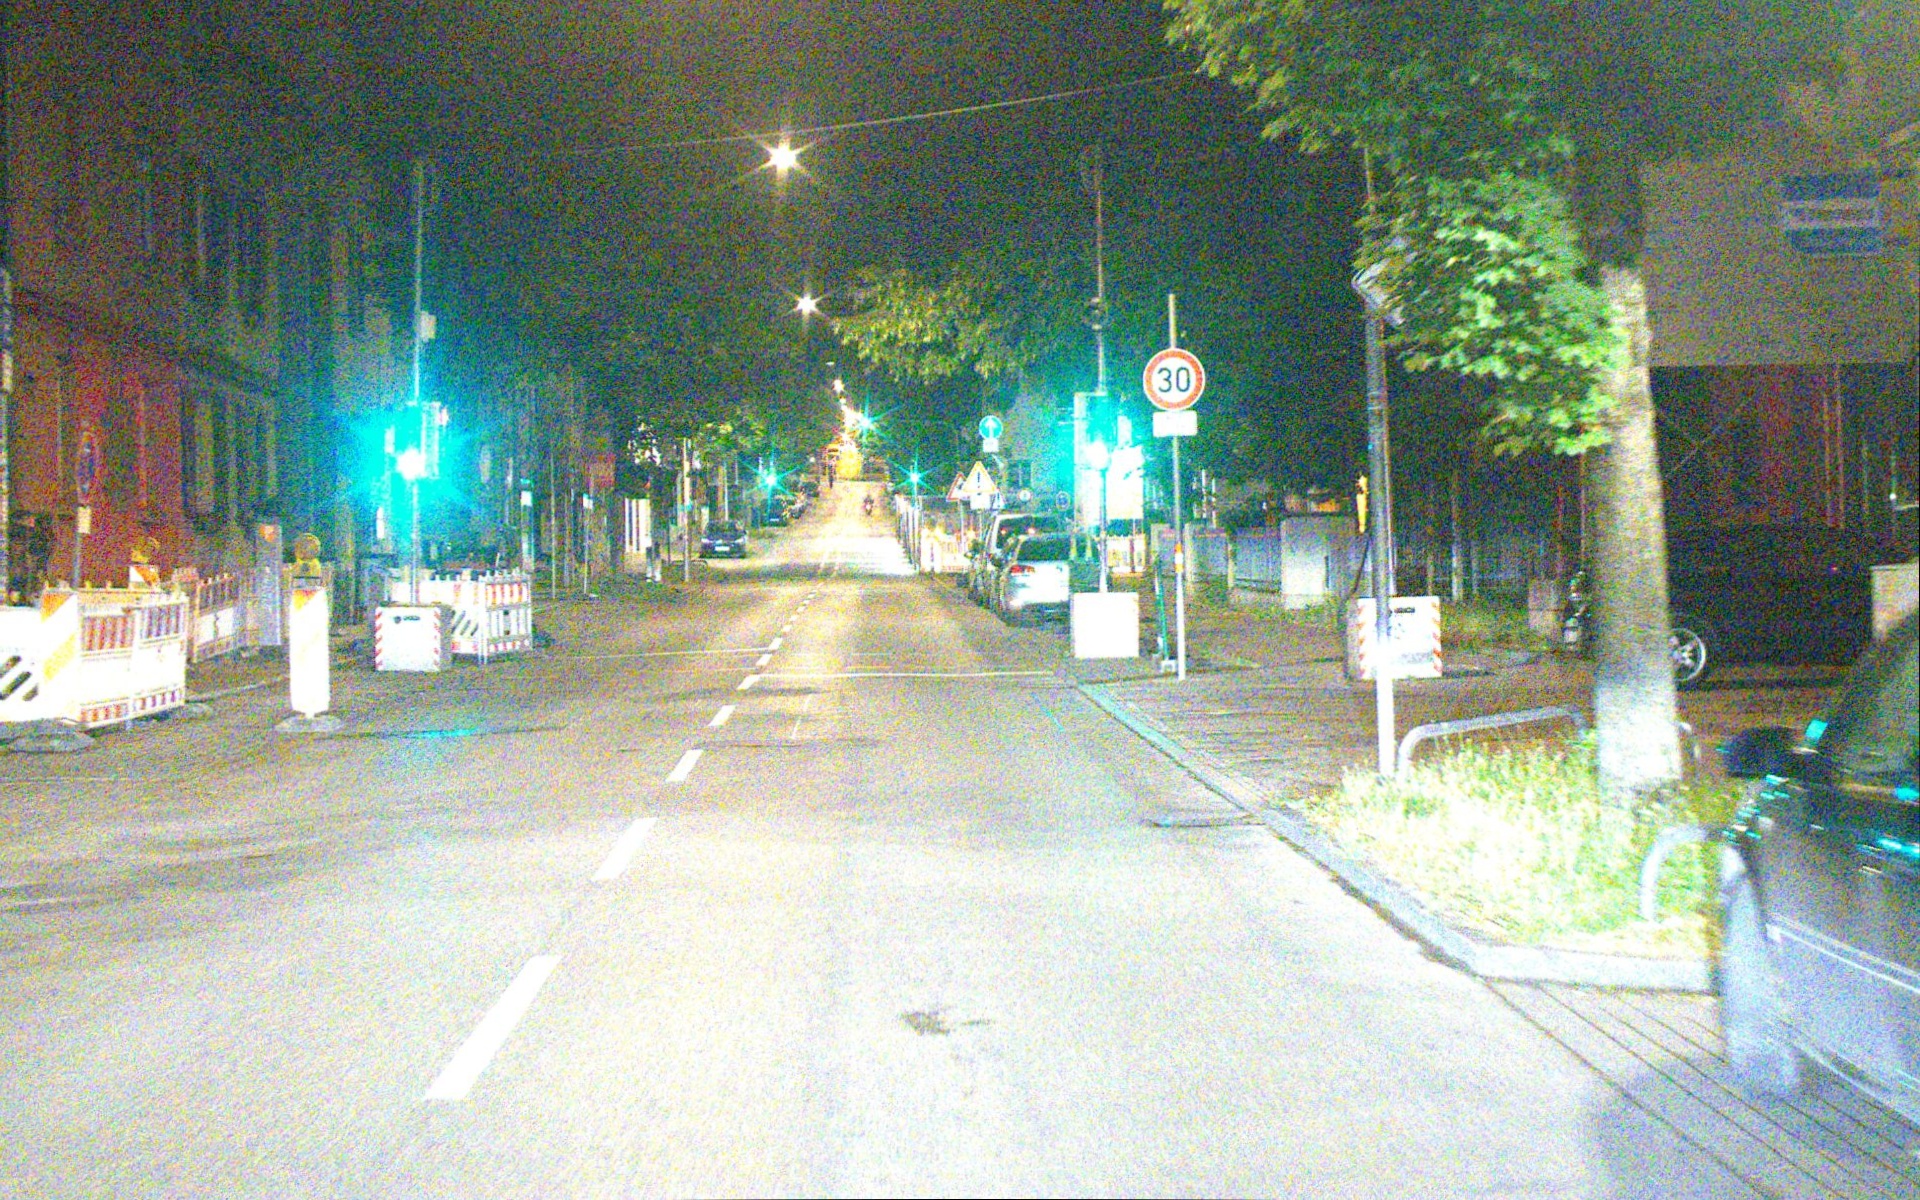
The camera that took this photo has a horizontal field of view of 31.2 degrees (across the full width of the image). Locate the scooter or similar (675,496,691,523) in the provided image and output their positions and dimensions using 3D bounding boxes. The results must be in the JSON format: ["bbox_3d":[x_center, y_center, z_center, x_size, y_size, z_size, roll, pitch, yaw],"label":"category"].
[{"bbox_3d":[-12.867,-4.186,159.710,0.528,1.161,2.507,-3,1,-2],"label":"scooter or similar"}]

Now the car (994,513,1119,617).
[{"bbox_3d":[1.525,-0.598,55.763,1.739,1.472,4.001,-4,2,-1],"label":"car"}]

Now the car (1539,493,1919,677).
[{"bbox_3d":[7.182,-0.144,29.486,4.014,1.417,1.852,-2,0,-3],"label":"car"}]

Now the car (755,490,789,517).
[{"bbox_3d":[-11.263,-5.784,206.001,1.873,1.539,4.205,-2,2,-2],"label":"car"}]

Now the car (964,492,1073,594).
[{"bbox_3d":[1.100,-1.132,66.749,1.735,1.848,4.317,-3,2,-3],"label":"car"}]

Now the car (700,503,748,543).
[{"bbox_3d":[-9.189,-3.026,133.871,1.671,1.438,4.205,-2,2,-2],"label":"car"}]

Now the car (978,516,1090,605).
[{"bbox_3d":[1.277,-0.732,60.772,1.686,1.416,4.444,-3,2,-2],"label":"car"}]

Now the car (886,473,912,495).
[{"bbox_3d":[-4.570,-8.685,256.404,1.873,1.539,4.205,-2,2,-2],"label":"car"}]

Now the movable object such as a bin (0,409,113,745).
[{"bbox_3d":[-8.288,-0.194,28.306,1.571,2.617,3.910,-3,1,0],"label":"movable object such as a bin"}]

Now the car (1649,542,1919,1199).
[{"bbox_3d":[2.811,0.605,7.656,1.736,1.449,4.000,-2,1,1],"label":"car"}]

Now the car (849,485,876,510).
[{"bbox_3d":[-7.238,-7.606,254.992,1.873,1.808,4.205,-2,2,-1],"label":"car"}]
